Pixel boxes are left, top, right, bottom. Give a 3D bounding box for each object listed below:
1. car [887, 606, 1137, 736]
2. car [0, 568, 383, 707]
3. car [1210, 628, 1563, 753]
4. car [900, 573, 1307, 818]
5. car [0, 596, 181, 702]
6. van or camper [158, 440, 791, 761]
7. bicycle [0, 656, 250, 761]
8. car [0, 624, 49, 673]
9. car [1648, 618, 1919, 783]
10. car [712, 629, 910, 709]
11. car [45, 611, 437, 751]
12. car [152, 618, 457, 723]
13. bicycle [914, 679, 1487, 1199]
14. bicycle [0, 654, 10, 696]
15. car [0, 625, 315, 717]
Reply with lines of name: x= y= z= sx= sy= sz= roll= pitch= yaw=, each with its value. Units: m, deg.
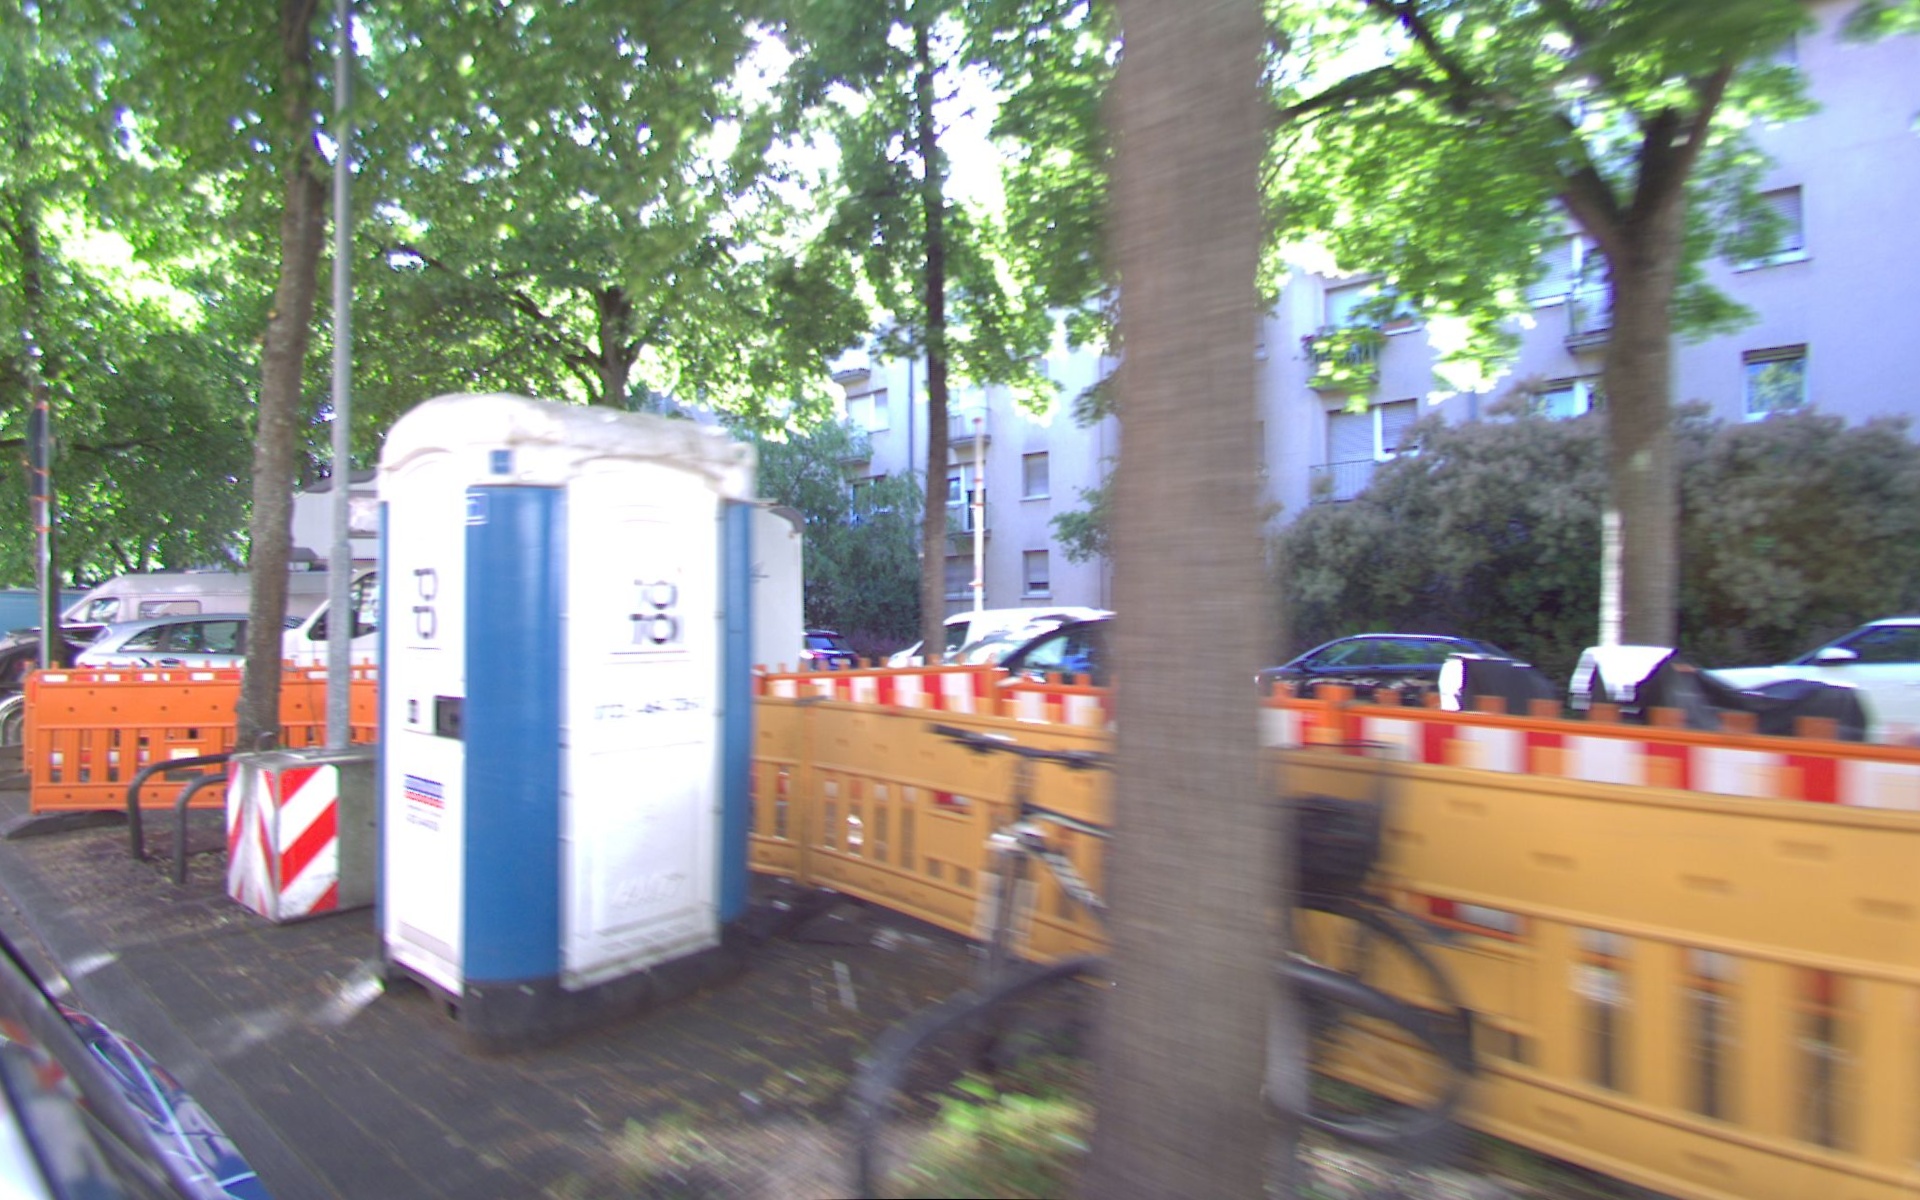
car: x=0.826 y=1.164 z=17.794 sx=4.262 sy=2.029 sz=1.605 roll=-2 pitch=-2 yaw=39
car: x=-15.319 y=0.774 z=20.429 sx=6.094 sy=2.531 sz=2.145 roll=1 pitch=-3 yaw=-22
car: x=5.700 y=1.134 z=13.842 sx=4.125 sy=1.454 sz=1.701 roll=-2 pitch=-3 yaw=41
car: x=1.119 y=0.710 z=8.270 sx=2.941 sy=1.730 sz=1.426 roll=1 pitch=-2 yaw=-17
car: x=-19.806 y=1.057 z=21.885 sx=4.322 sy=2.184 sz=1.776 roll=1 pitch=-3 yaw=-22
van or camper: x=-5.151 y=0.090 z=11.701 sx=5.929 sy=3.025 sz=2.407 roll=1 pitch=-3 yaw=-20
bicycle: x=-9.411 y=1.181 z=11.336 sx=2.345 sy=0.985 sz=0.502 roll=-1 pitch=-1 yaw=-40
car: x=-29.700 y=1.462 z=30.271 sx=3.218 sy=1.427 sz=1.753 roll=0 pitch=-1 yaw=-18
car: x=9.631 y=0.984 z=10.338 sx=4.111 sy=1.571 sz=1.701 roll=-2 pitch=-3 yaw=41
car: x=-3.157 y=1.392 z=21.104 sx=3.998 sy=1.497 sz=1.973 roll=-2 pitch=-3 yaw=41
car: x=-9.239 y=1.014 z=13.454 sx=3.930 sy=1.629 sz=1.803 roll=1 pitch=-3 yaw=-24
car: x=-10.384 y=1.109 z=16.332 sx=3.761 sy=1.556 sz=1.687 roll=1 pitch=-3 yaw=-15
bicycle: x=0.508 y=0.825 z=2.686 sx=0.277 sy=1.164 sz=1.552 roll=0 pitch=-1 yaw=-44
bicycle: x=-23.074 y=1.718 z=23.003 sx=2.119 sy=0.977 sz=0.609 roll=2 pitch=-3 yaw=-43
car: x=-14.193 y=1.213 z=17.829 sx=4.447 sy=1.495 sz=1.743 roll=1 pitch=-3 yaw=-19
